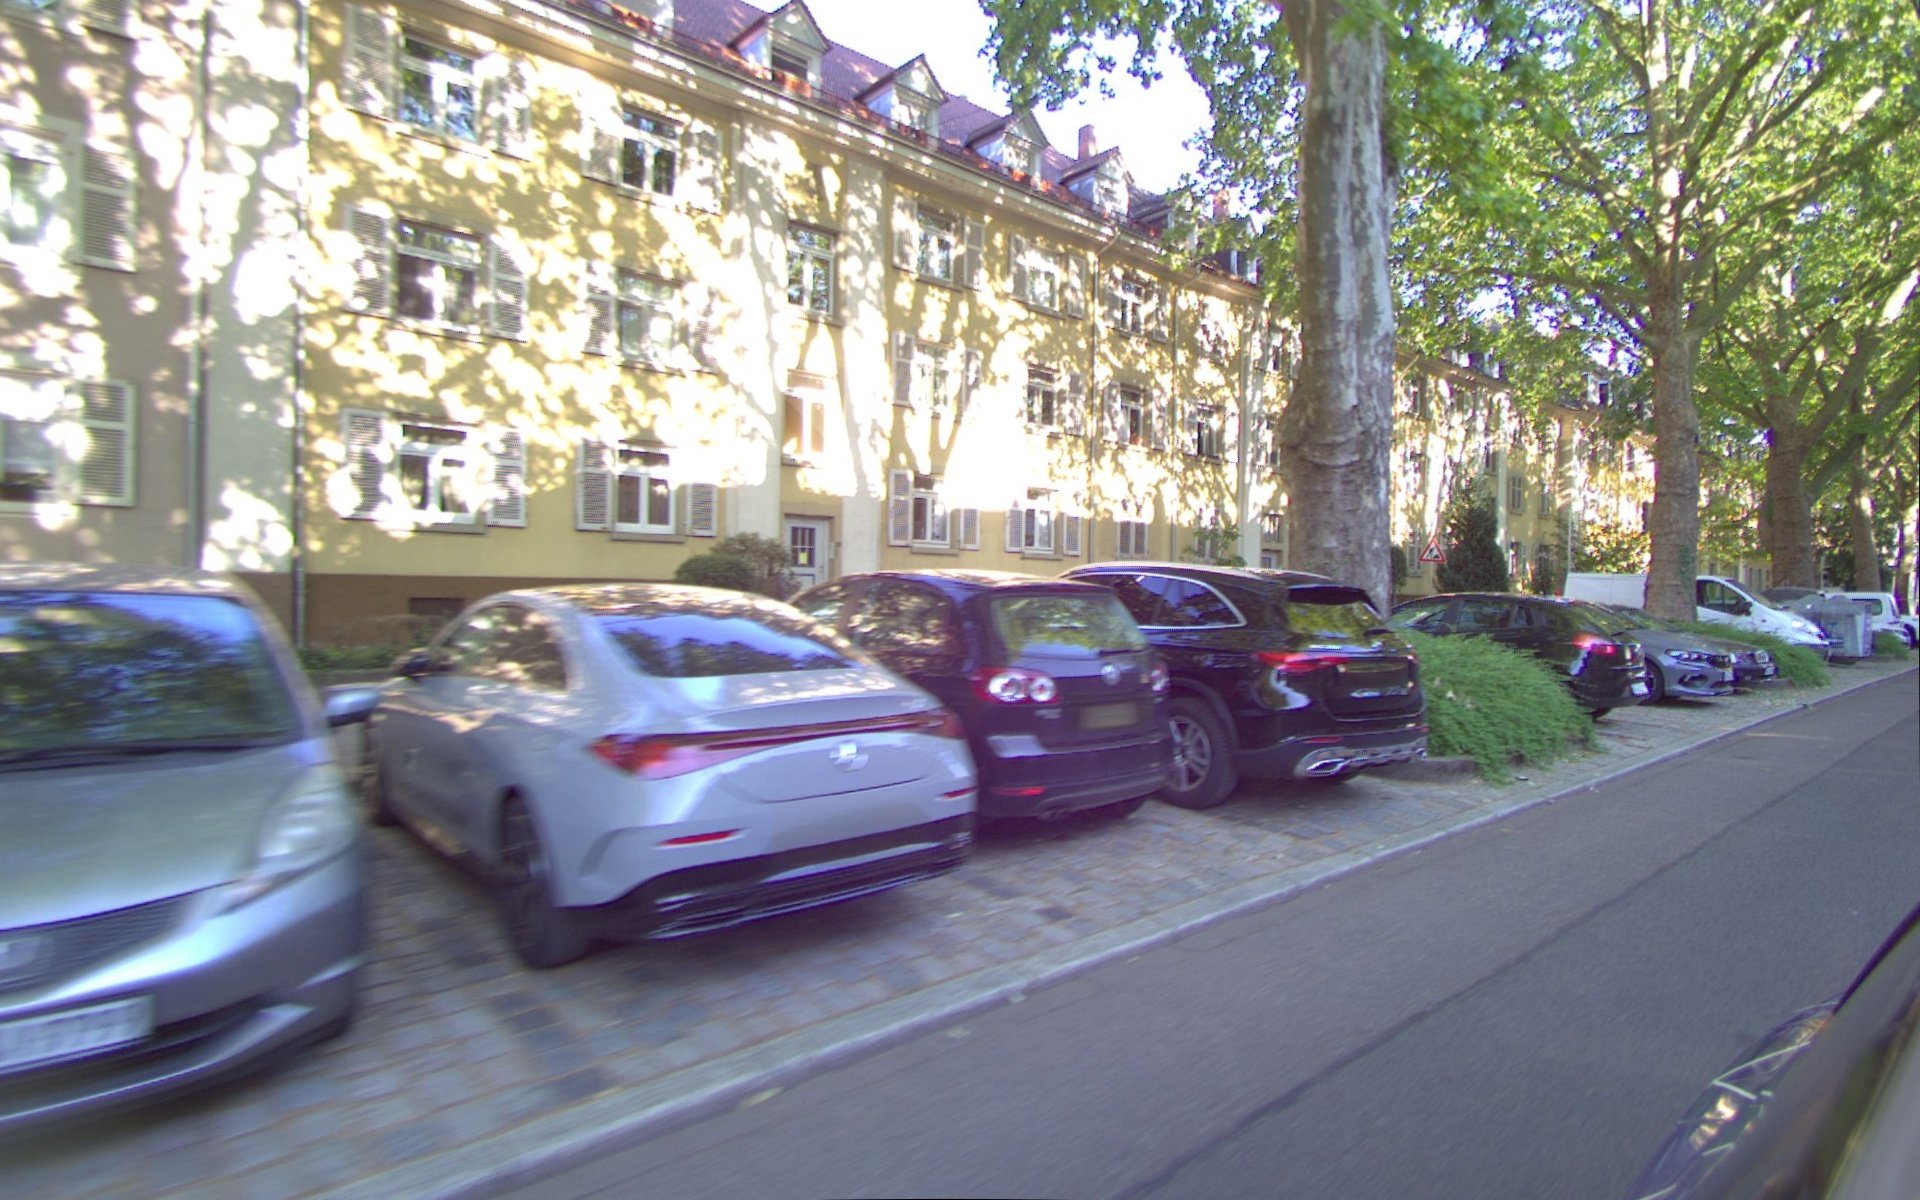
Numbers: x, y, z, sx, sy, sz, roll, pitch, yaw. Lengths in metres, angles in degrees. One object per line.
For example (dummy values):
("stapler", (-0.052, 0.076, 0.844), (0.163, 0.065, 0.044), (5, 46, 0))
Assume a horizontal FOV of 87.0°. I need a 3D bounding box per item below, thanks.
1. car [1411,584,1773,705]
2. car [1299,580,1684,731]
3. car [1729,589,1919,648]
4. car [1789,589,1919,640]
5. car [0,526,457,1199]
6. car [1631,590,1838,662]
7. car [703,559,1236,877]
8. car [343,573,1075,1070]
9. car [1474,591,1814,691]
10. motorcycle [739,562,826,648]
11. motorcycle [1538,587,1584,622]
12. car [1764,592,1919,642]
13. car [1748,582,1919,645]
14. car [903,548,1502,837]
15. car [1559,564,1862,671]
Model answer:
("car", (9.313, 0.542, 15.205), (1.864, 1.502, 4.255), (0, 1, -40))
("car", (6.368, 0.540, 12.454), (1.680, 1.528, 3.845), (0, 1, -41))
("car", (25.594, 0.506, 29.779), (1.767, 1.561, 4.384), (1, 0, -37))
("car", (30.491, 0.452, 33.793), (1.884, 1.540, 4.094), (-1, 2, -41))
("car", (-3.391, 0.560, 3.813), (1.764, 1.528, 4.151), (0, 1, -40))
("car", (17.520, 0.530, 22.988), (1.645, 1.464, 3.530), (0, 1, -43))
("car", (-0.172, 0.534, 6.972), (1.745, 1.566, 3.687), (0, 1, -39))
("car", (-1.650, 0.605, 5.230), (1.914, 1.457, 4.302), (0, 1, -41))
("car", (11.305, 0.578, 17.025), (1.770, 1.397, 4.410), (0, 1, -36))
("motorcycle", (-3.183, 0.065, 18.037), (0.612, 1.377, 1.806), (0, 4, -43))
("motorcycle", (21.238, 0.157, 35.764), (2.224, 1.167, 0.716), (0, 2, -41))
("car", (28.549, 0.508, 32.563), (1.817, 1.450, 3.856), (0, 1, -37))
("car", (27.065, 0.351, 31.335), (1.881, 1.794, 3.856), (0, 1, -37))
("car", (1.616, 0.443, 8.270), (1.989, 1.621, 4.511), (0, 3, -37))
("car", (15.624, 0.267, 21.292), (2.030, 1.988, 4.842), (0, 1, -42))
